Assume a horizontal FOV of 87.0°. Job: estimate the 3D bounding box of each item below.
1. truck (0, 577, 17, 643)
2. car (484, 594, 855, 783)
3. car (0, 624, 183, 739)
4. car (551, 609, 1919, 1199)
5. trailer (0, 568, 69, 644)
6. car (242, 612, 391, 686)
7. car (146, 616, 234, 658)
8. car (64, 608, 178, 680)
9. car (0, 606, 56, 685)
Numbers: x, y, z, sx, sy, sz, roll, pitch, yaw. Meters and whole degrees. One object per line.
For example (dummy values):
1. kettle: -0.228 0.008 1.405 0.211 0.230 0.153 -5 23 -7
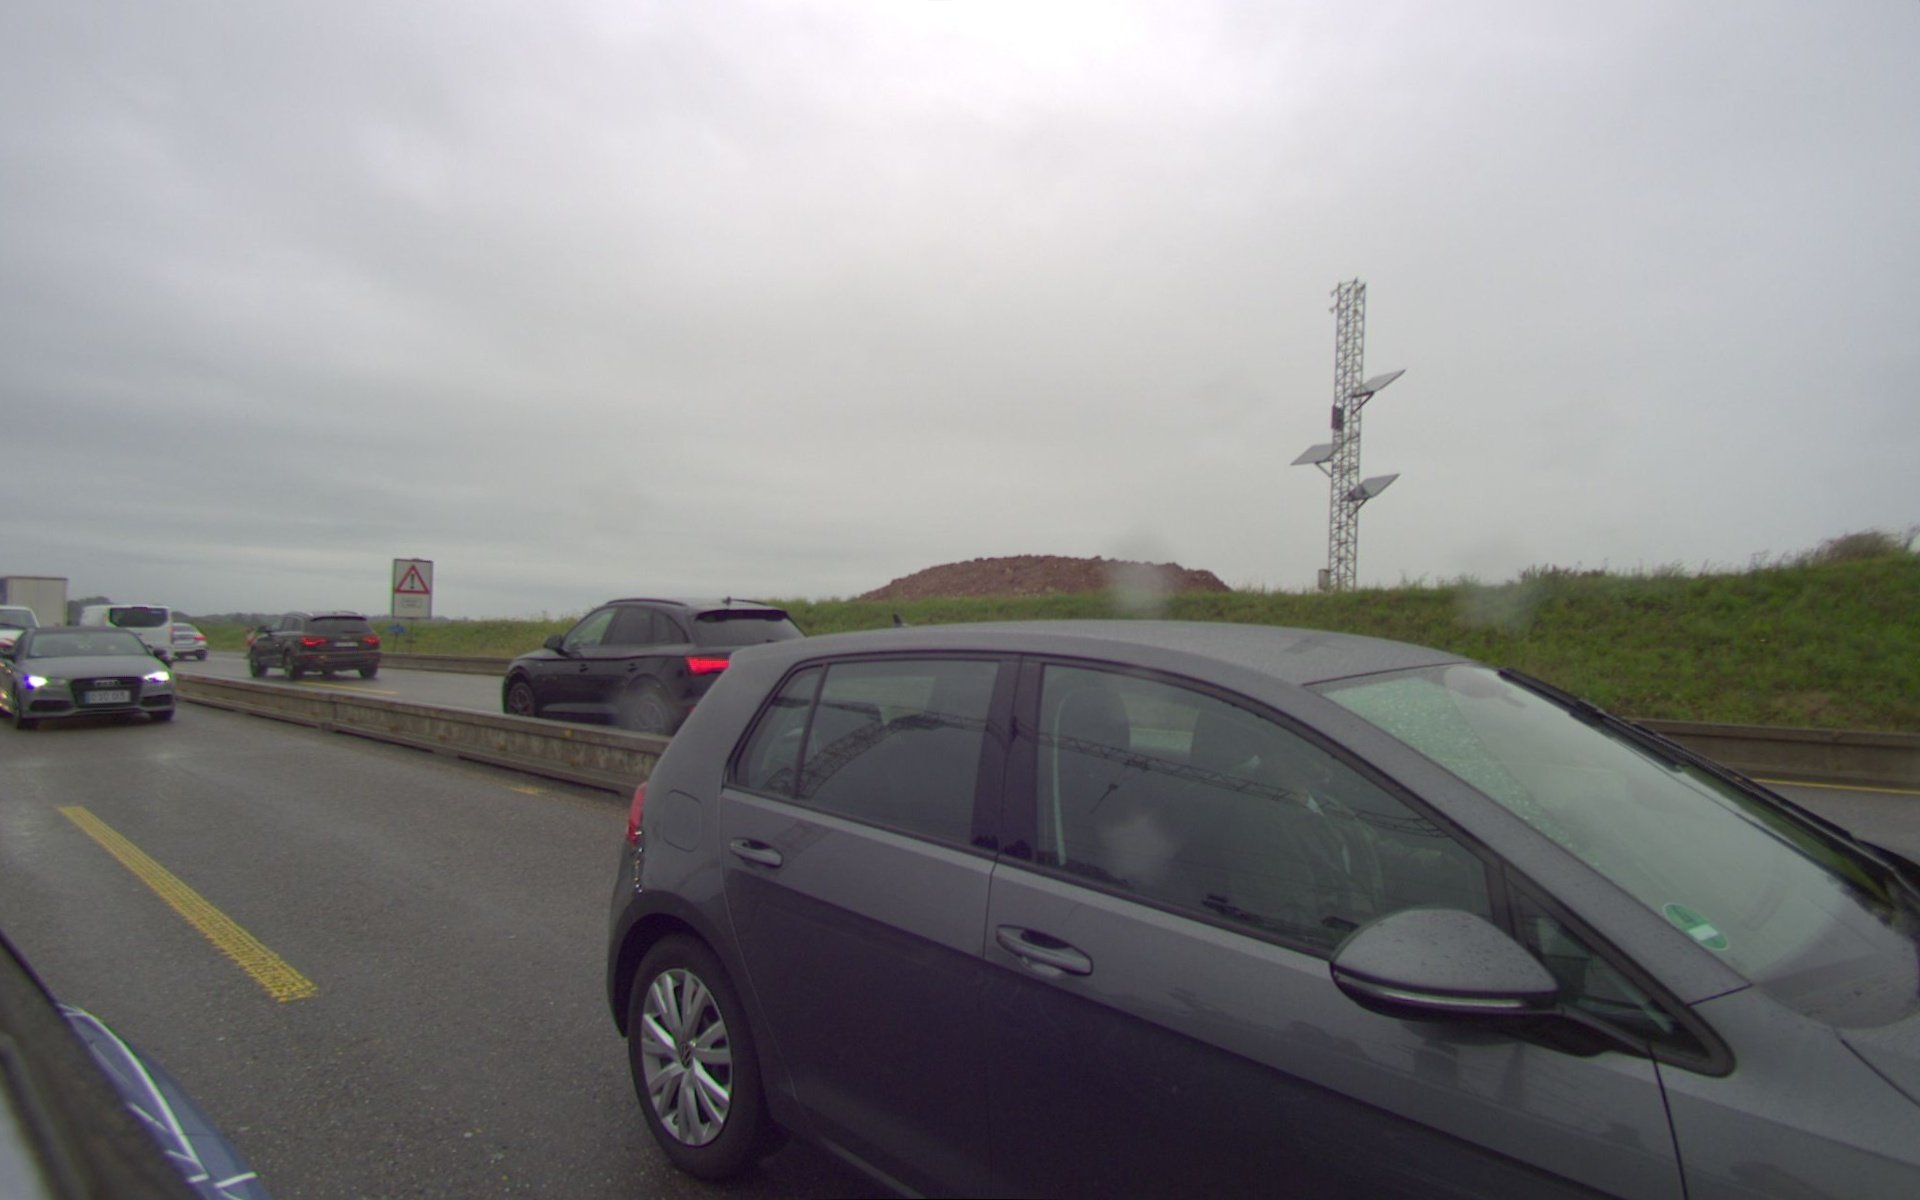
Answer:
1. truck: -61.738 0.716 63.462 5.808 4.065 2.763 -2 -1 36
2. car: -3.324 0.822 11.037 4.484 1.651 1.803 -2 -1 43
3. car: -13.361 1.110 15.306 4.267 1.407 1.776 0 0 41
4. car: 0.907 0.738 2.136 4.079 1.433 1.632 0 -1 41
5. trailer: -55.861 0.522 59.186 13.712 4.065 2.755 -2 -1 36
6. car: -16.731 1.234 26.196 4.967 1.699 1.973 -2 -1 41
7. car: -30.190 1.405 39.627 4.535 1.512 1.972 -1 -1 43
8. car: -25.970 1.326 31.254 4.967 2.015 1.973 -2 -1 41
9. car: -24.856 1.101 25.775 5.177 1.873 2.133 0 0 41
